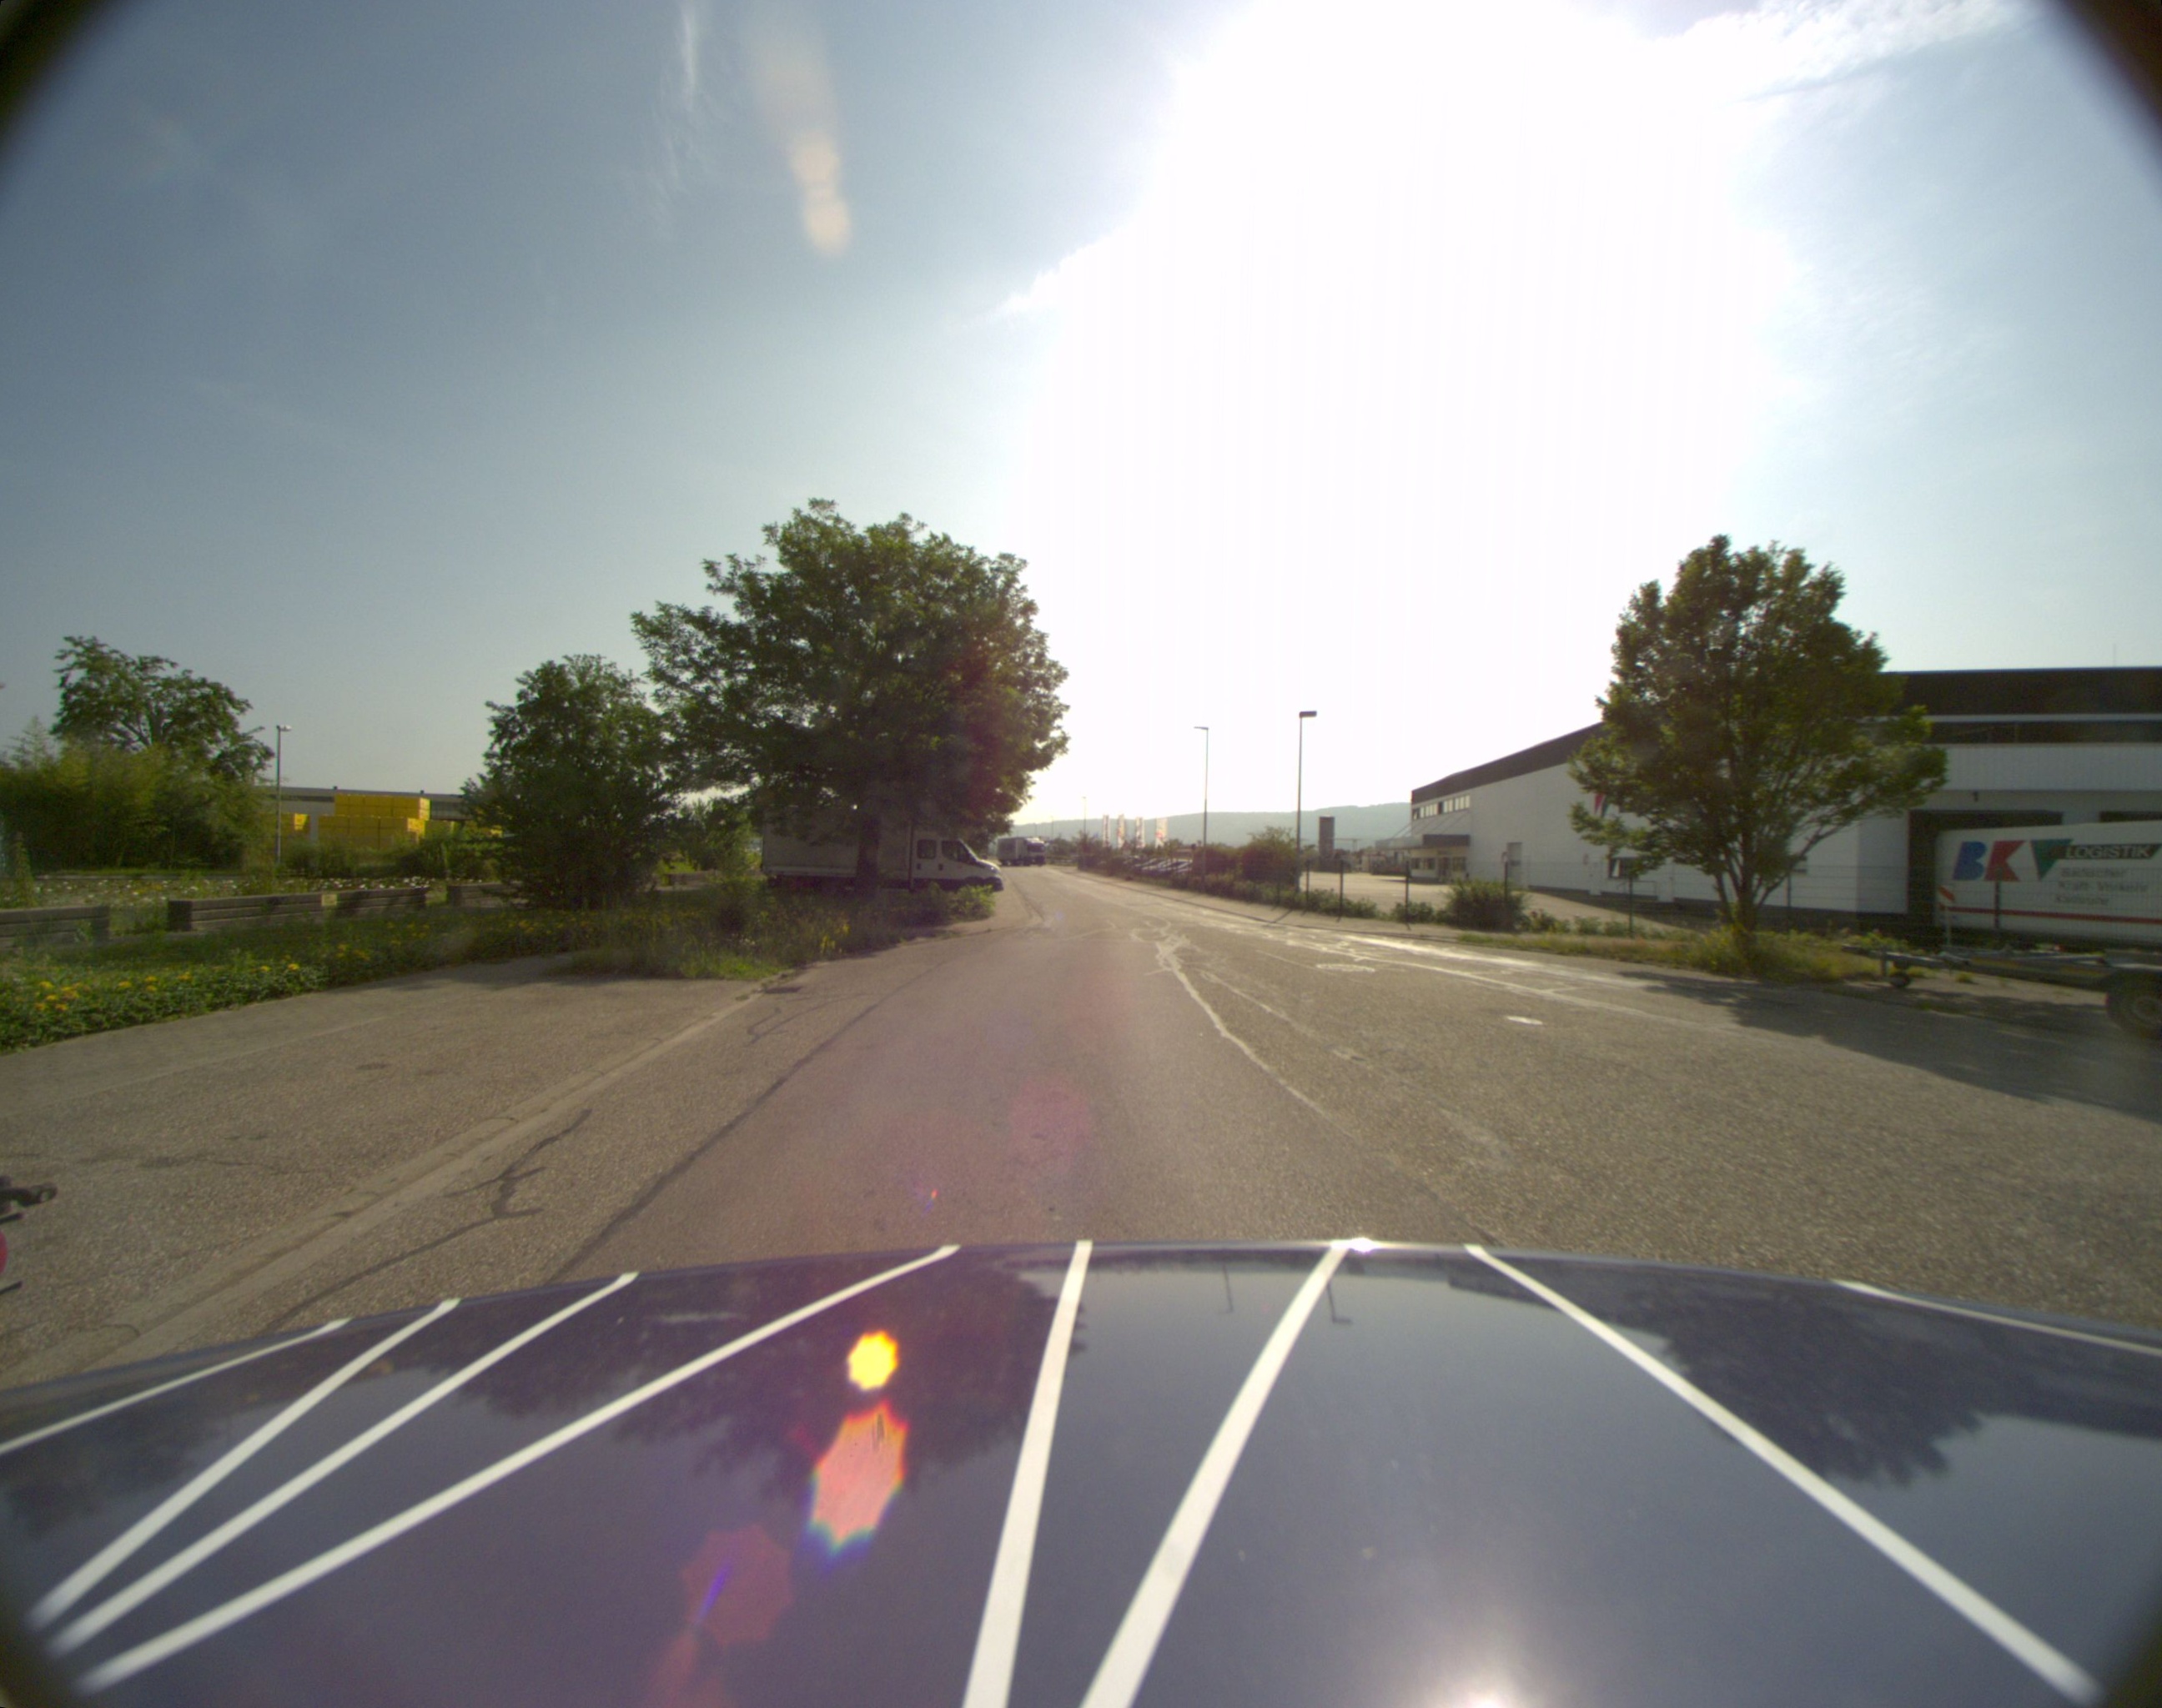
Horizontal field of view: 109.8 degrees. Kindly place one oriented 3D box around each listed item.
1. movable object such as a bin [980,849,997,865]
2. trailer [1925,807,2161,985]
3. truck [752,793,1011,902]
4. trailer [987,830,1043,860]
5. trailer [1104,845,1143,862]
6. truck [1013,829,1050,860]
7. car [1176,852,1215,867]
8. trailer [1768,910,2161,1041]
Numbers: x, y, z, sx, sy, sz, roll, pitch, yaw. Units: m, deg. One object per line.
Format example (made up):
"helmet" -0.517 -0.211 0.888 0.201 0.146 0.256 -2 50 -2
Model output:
"movable object such as a bin" -18.529 0.626 152.005 2.437 2.994 5.746 2 0 -14
"trailer" 25.514 0.972 15.766 2.486 4.019 13.895 0 1 9
"truck" -6.660 -0.197 26.389 8.235 3.351 2.738 2 1 -8
"trailer" -9.990 -1.414 112.735 3.504 4.183 14.201 -2 2 -25
"trailer" 7.195 -0.081 127.562 6.318 2.590 2.856 3 1 7
"truck" -6.997 -1.331 106.495 3.401 4.183 6.085 -1 2 -23
"car" 14.507 0.679 96.430 4.656 1.742 2.154 2 1 14
"trailer" 12.083 1.376 8.315 2.555 0.920 6.704 -2 0 -8
